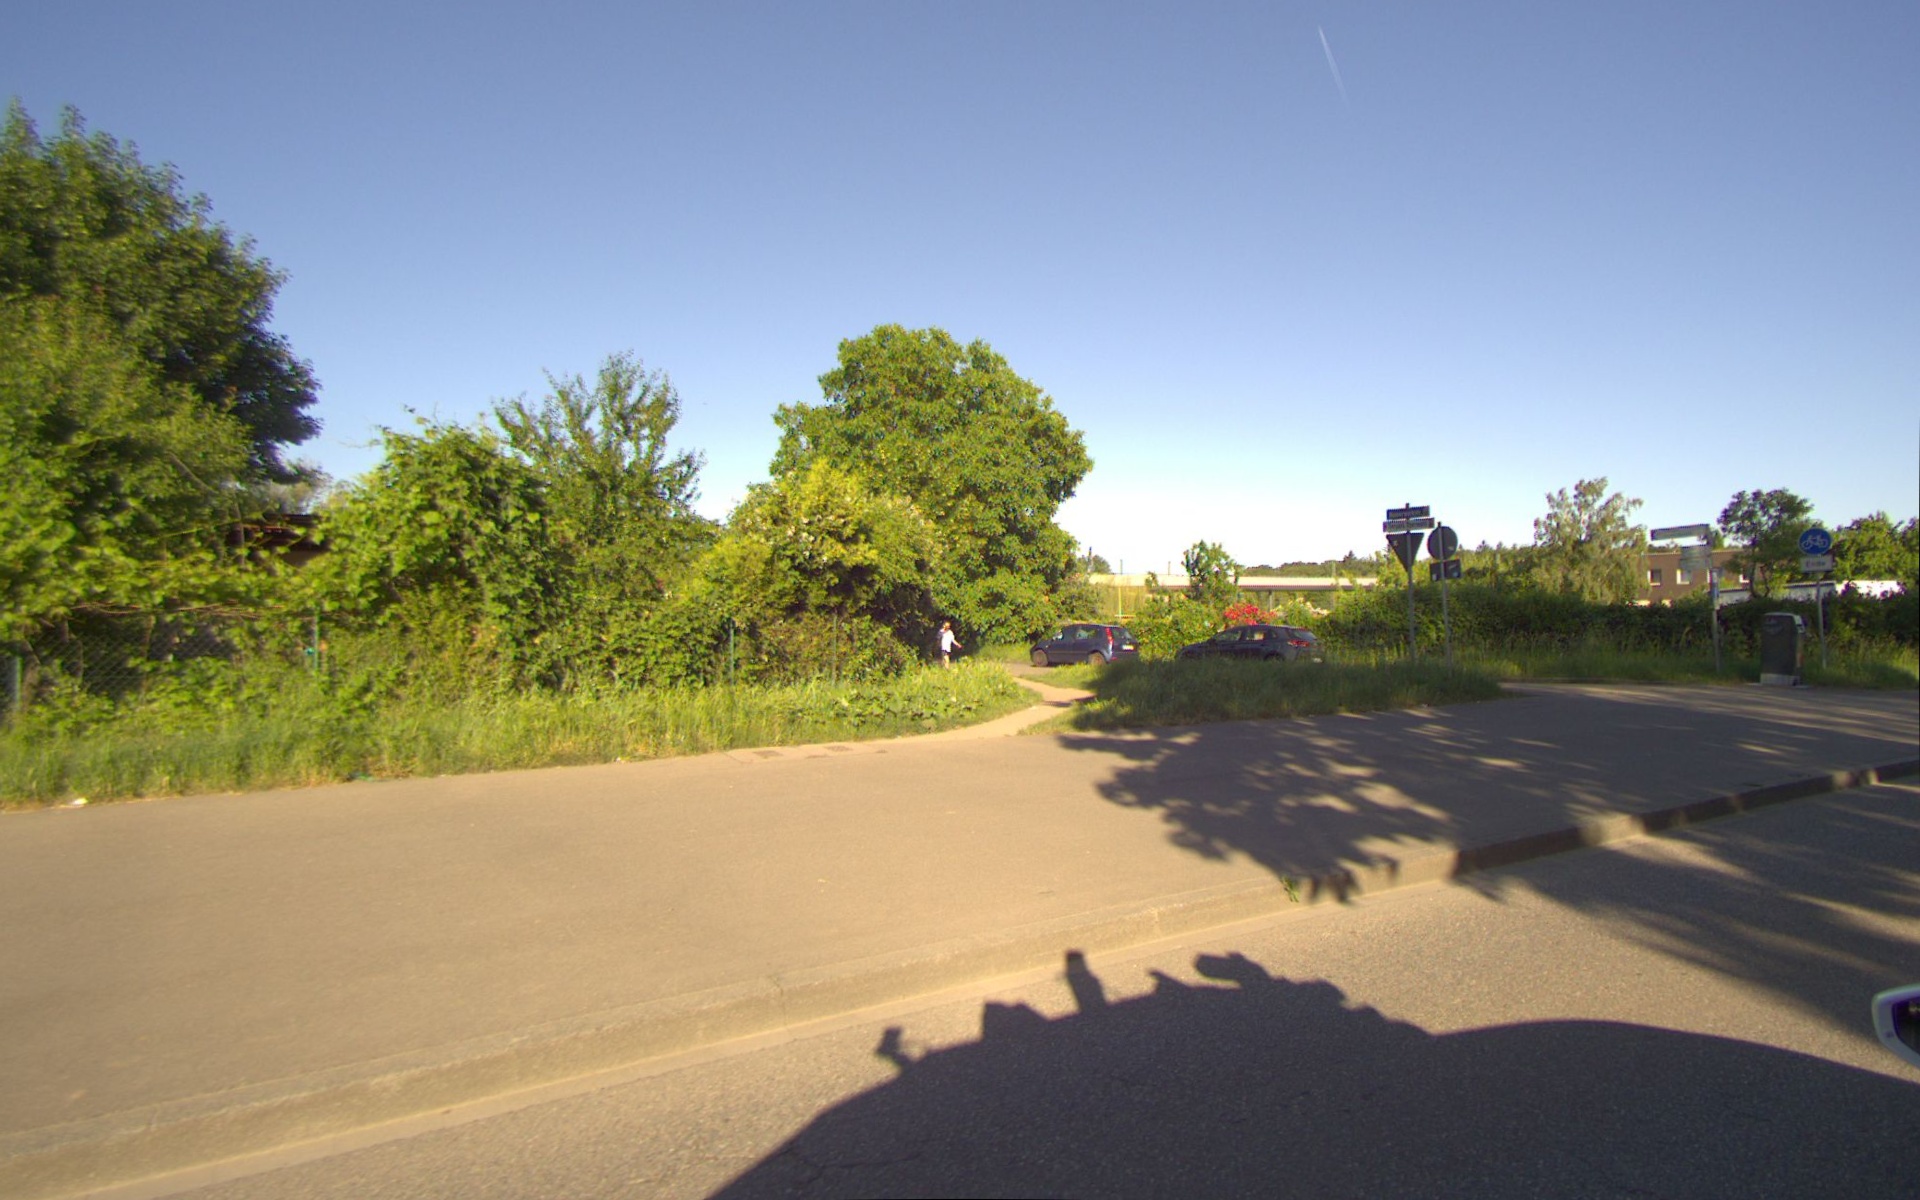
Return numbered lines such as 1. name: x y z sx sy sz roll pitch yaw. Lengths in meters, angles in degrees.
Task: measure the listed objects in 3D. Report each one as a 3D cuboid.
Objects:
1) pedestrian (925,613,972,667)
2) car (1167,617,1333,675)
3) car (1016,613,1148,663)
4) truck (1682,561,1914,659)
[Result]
1. pedestrian: -0.315 1.102 27.314 0.807 1.422 1.009 4 -4 -39
2. car: 7.922 1.243 27.662 1.875 1.466 3.987 4 -3 -42
3. car: 3.895 1.207 32.495 1.875 1.466 3.987 4 -3 -42
4. truck: 37.717 0.547 45.863 2.658 3.934 9.335 2 -2 -1
